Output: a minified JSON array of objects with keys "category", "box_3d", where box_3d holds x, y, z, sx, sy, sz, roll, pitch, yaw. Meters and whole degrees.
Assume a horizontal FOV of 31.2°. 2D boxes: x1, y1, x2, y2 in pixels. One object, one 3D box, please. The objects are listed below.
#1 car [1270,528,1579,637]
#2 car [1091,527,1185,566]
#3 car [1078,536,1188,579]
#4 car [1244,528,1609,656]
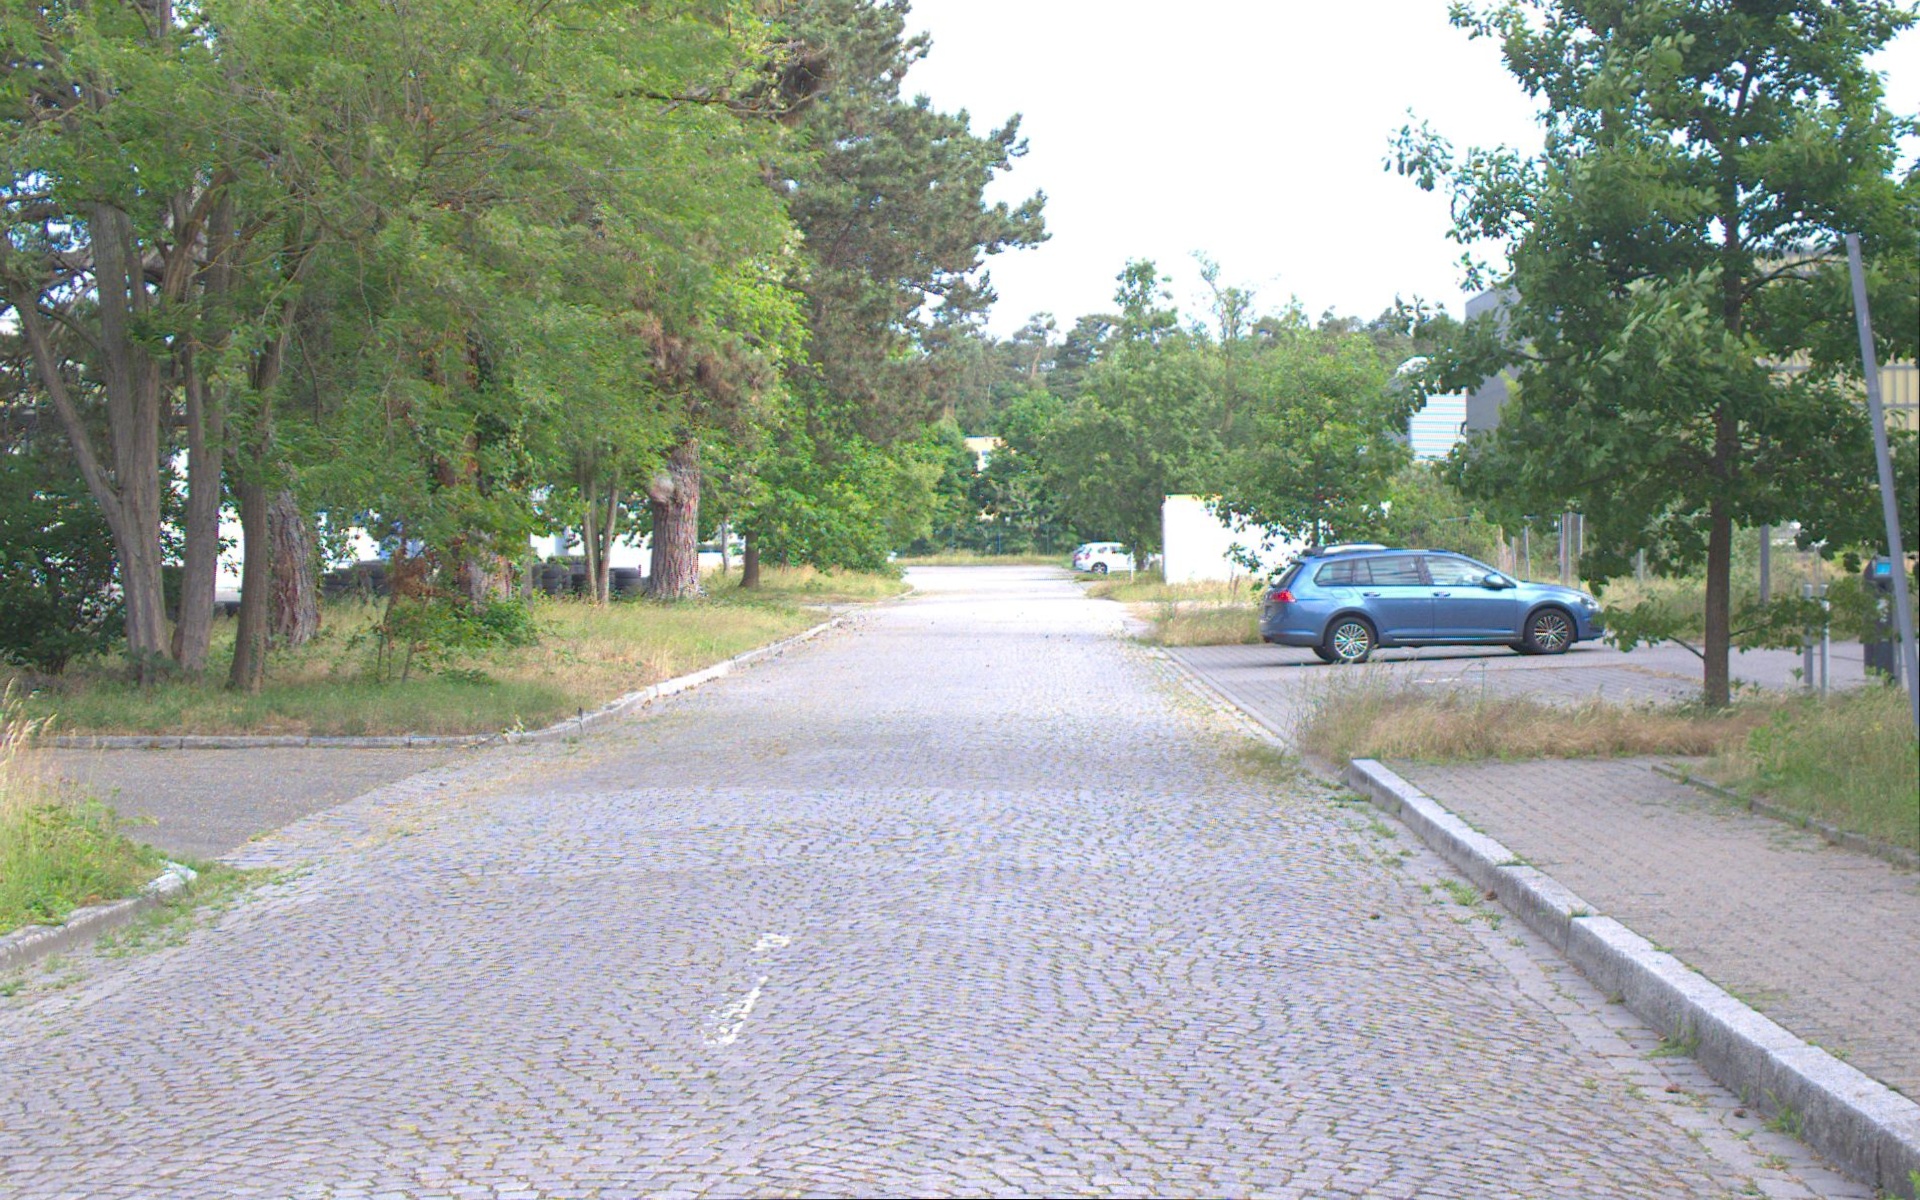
[{"category":"car","box_3d":[7.141,-0.282,53.198,4.518,1.526,2.000,-2,1,2]},{"category":"car","box_3d":[8.277,-2.501,160.389,4.355,1.774,1.925,0,1,3]},{"category":"car","box_3d":[6.997,-1.730,139.429,4.354,1.682,1.925,0,1,0]},{"category":"car","box_3d":[6.174,-0.128,45.870,4.517,1.526,2.000,-2,1,-2]}]
